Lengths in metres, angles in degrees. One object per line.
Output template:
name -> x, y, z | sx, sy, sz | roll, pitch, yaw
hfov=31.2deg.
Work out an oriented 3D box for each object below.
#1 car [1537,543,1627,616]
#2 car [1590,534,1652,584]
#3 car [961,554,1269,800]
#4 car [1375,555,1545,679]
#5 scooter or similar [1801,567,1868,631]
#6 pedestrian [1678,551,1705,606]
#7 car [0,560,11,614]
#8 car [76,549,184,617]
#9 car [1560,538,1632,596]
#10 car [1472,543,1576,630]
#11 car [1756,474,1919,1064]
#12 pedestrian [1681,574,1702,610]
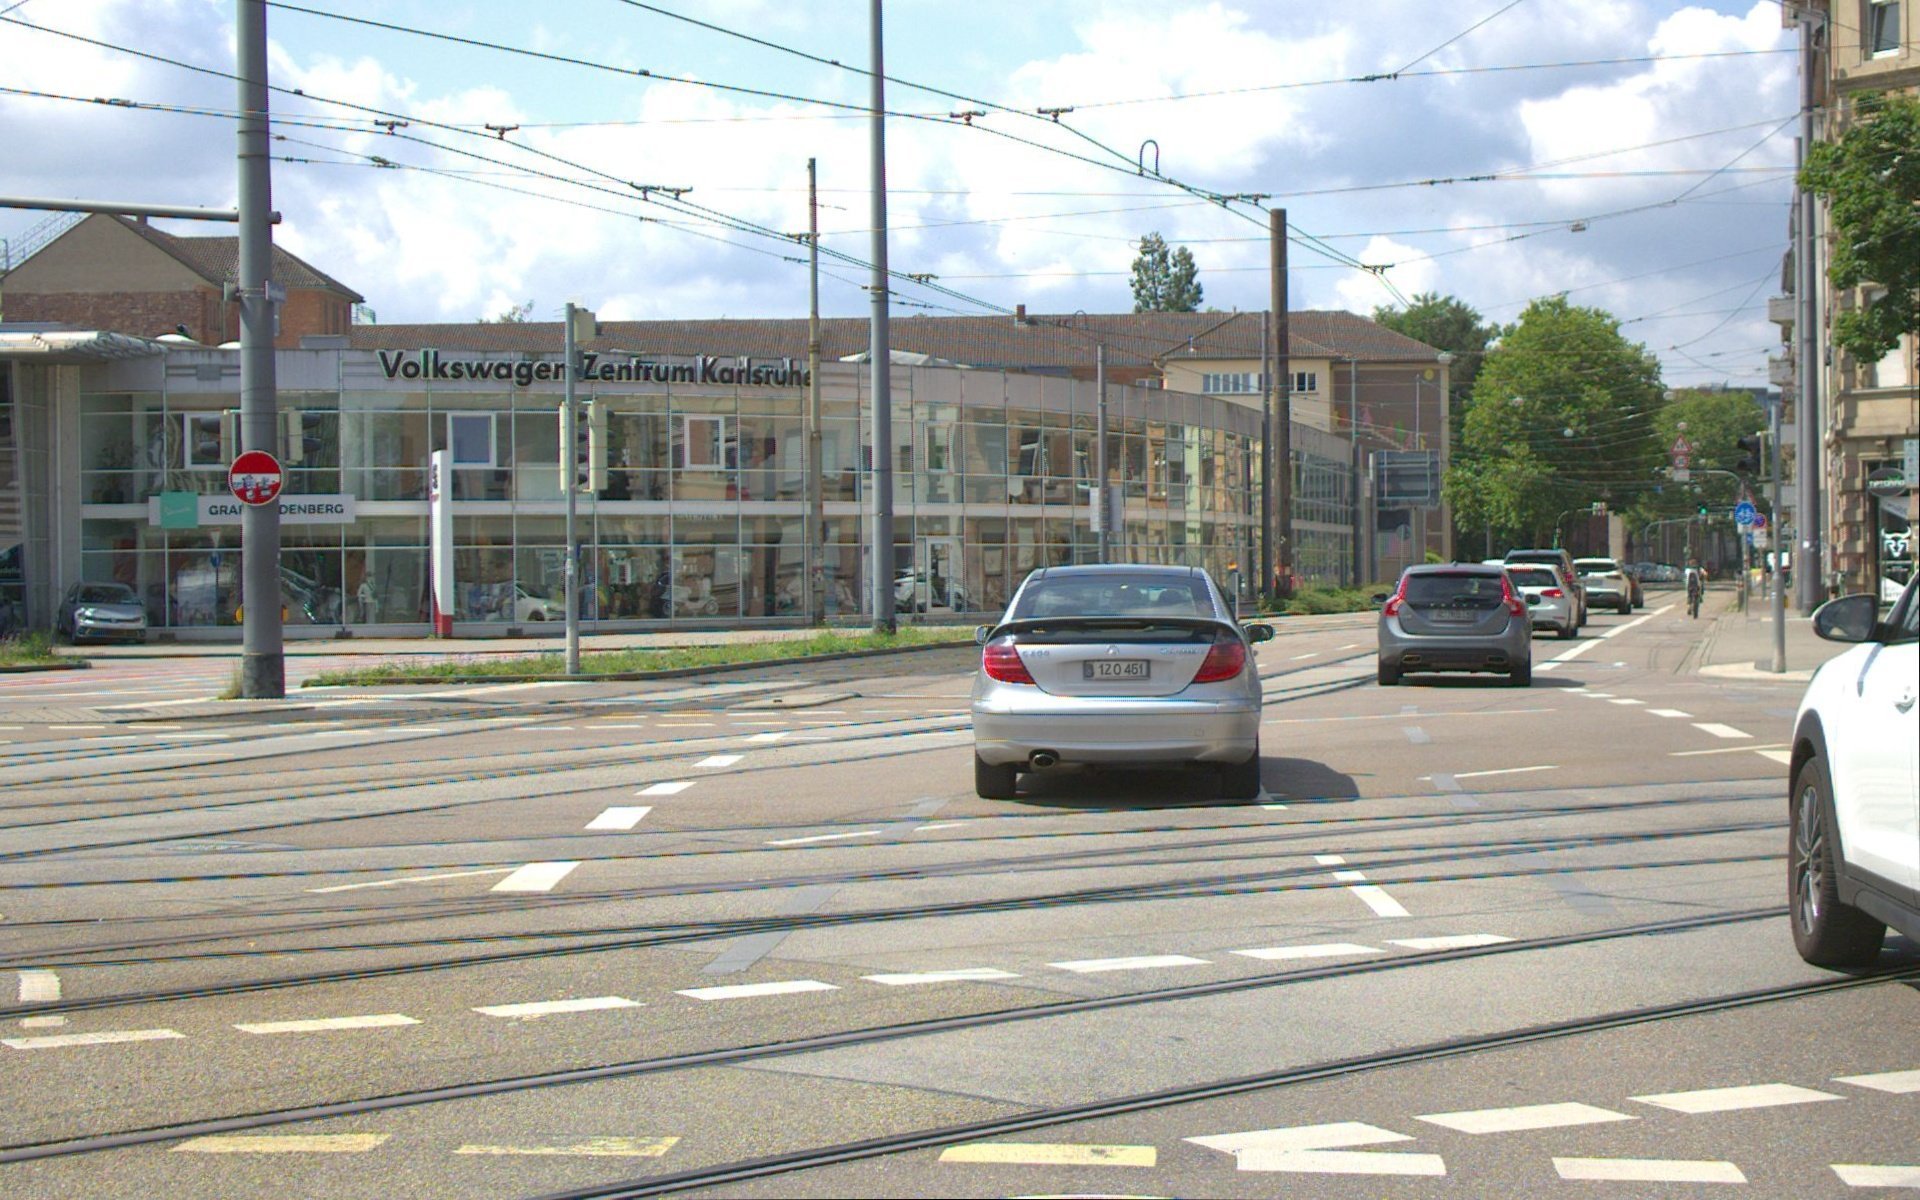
car -> 14.302, -0.484, 78.872 | 1.882, 1.636, 3.955 | 0, 1, 12
car -> 22.186, -1.373, 115.339 | 1.882, 1.636, 3.955 | 0, 1, 13
car -> 0.989, 0.411, 21.619 | 1.741, 1.387, 4.179 | 0, 1, 3
car -> 6.002, 0.167, 41.632 | 1.881, 1.414, 3.956 | 0, 1, 6
scooter or similar -> 16.256, -0.021, 63.921 | 1.517, 1.170, 0.383 | 1, -1, -40
pedestrian -> 19.313, -0.561, 90.726 | 0.692, 1.452, 0.679 | 0, -1, 12
car -> -23.382, -0.294, 81.417 | 1.647, 1.246, 4.001 | 1, -1, -17
car -> -20.121, -0.395, 83.520 | 1.993, 1.569, 4.000 | 0, -1, -5
car -> 18.412, -0.968, 99.450 | 1.882, 1.636, 3.955 | 0, 1, 13
car -> 10.955, -0.282, 66.611 | 1.882, 1.636, 3.955 | 0, 1, 11
car -> 3.620, 0.457, 9.918 | 1.881, 1.636, 4.232 | 0, 1, 3
pedestrian -> 19.302, -0.208, 90.711 | 0.525, 0.903, 1.560 | 0, -1, 12
